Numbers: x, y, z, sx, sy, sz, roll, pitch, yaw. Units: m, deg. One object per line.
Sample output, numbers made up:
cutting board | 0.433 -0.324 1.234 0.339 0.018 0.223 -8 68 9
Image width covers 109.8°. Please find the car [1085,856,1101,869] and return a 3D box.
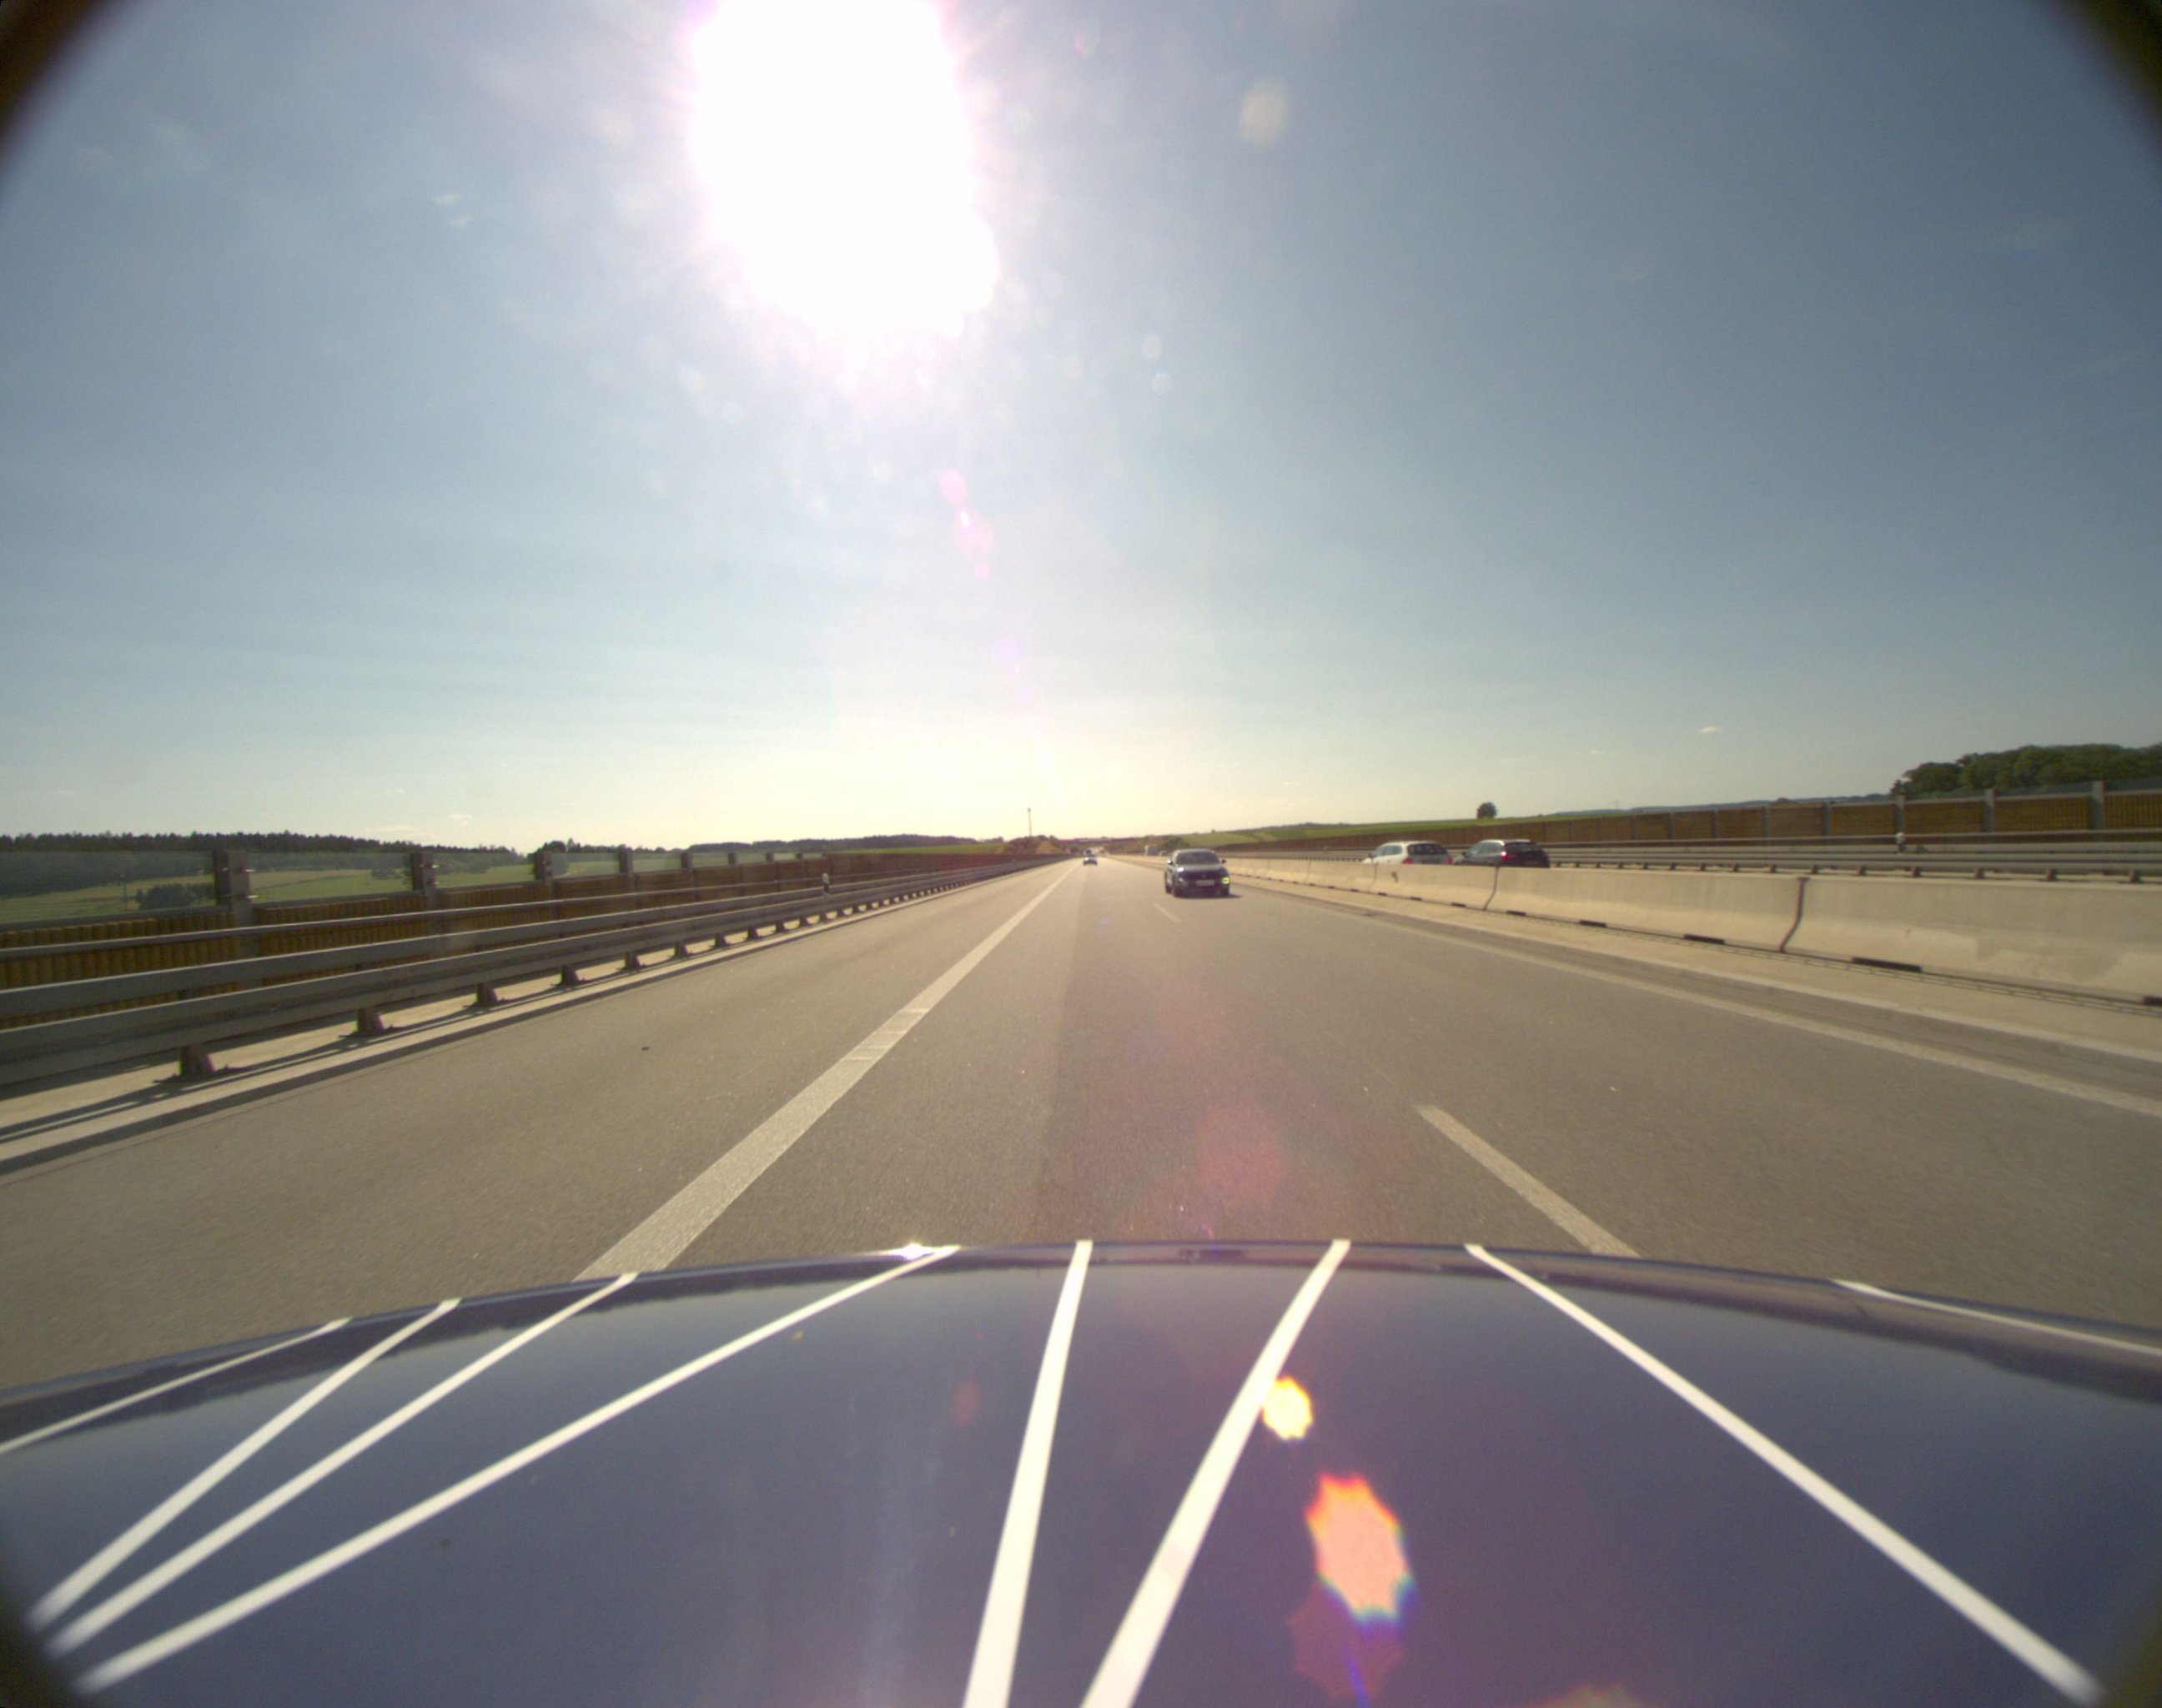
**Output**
car | 1.547 1.083 97.039 1.909 1.449 4.376 -2 0 2

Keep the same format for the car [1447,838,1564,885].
car | 14.550 0.230 26.347 1.583 1.449 4.449 -2 0 0

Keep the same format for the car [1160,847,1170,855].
car | 17.543 -0.572 158.330 1.651 1.500 4.332 -2 0 1

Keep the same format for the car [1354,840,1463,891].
car | 10.958 0.343 25.809 1.731 1.494 4.624 -2 0 0

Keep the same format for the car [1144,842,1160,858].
car | 12.385 -0.749 132.885 2.028 2.654 6.486 -2 0 0

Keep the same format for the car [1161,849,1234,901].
car | 3.909 0.648 26.275 1.776 1.560 4.988 -2 0 1
